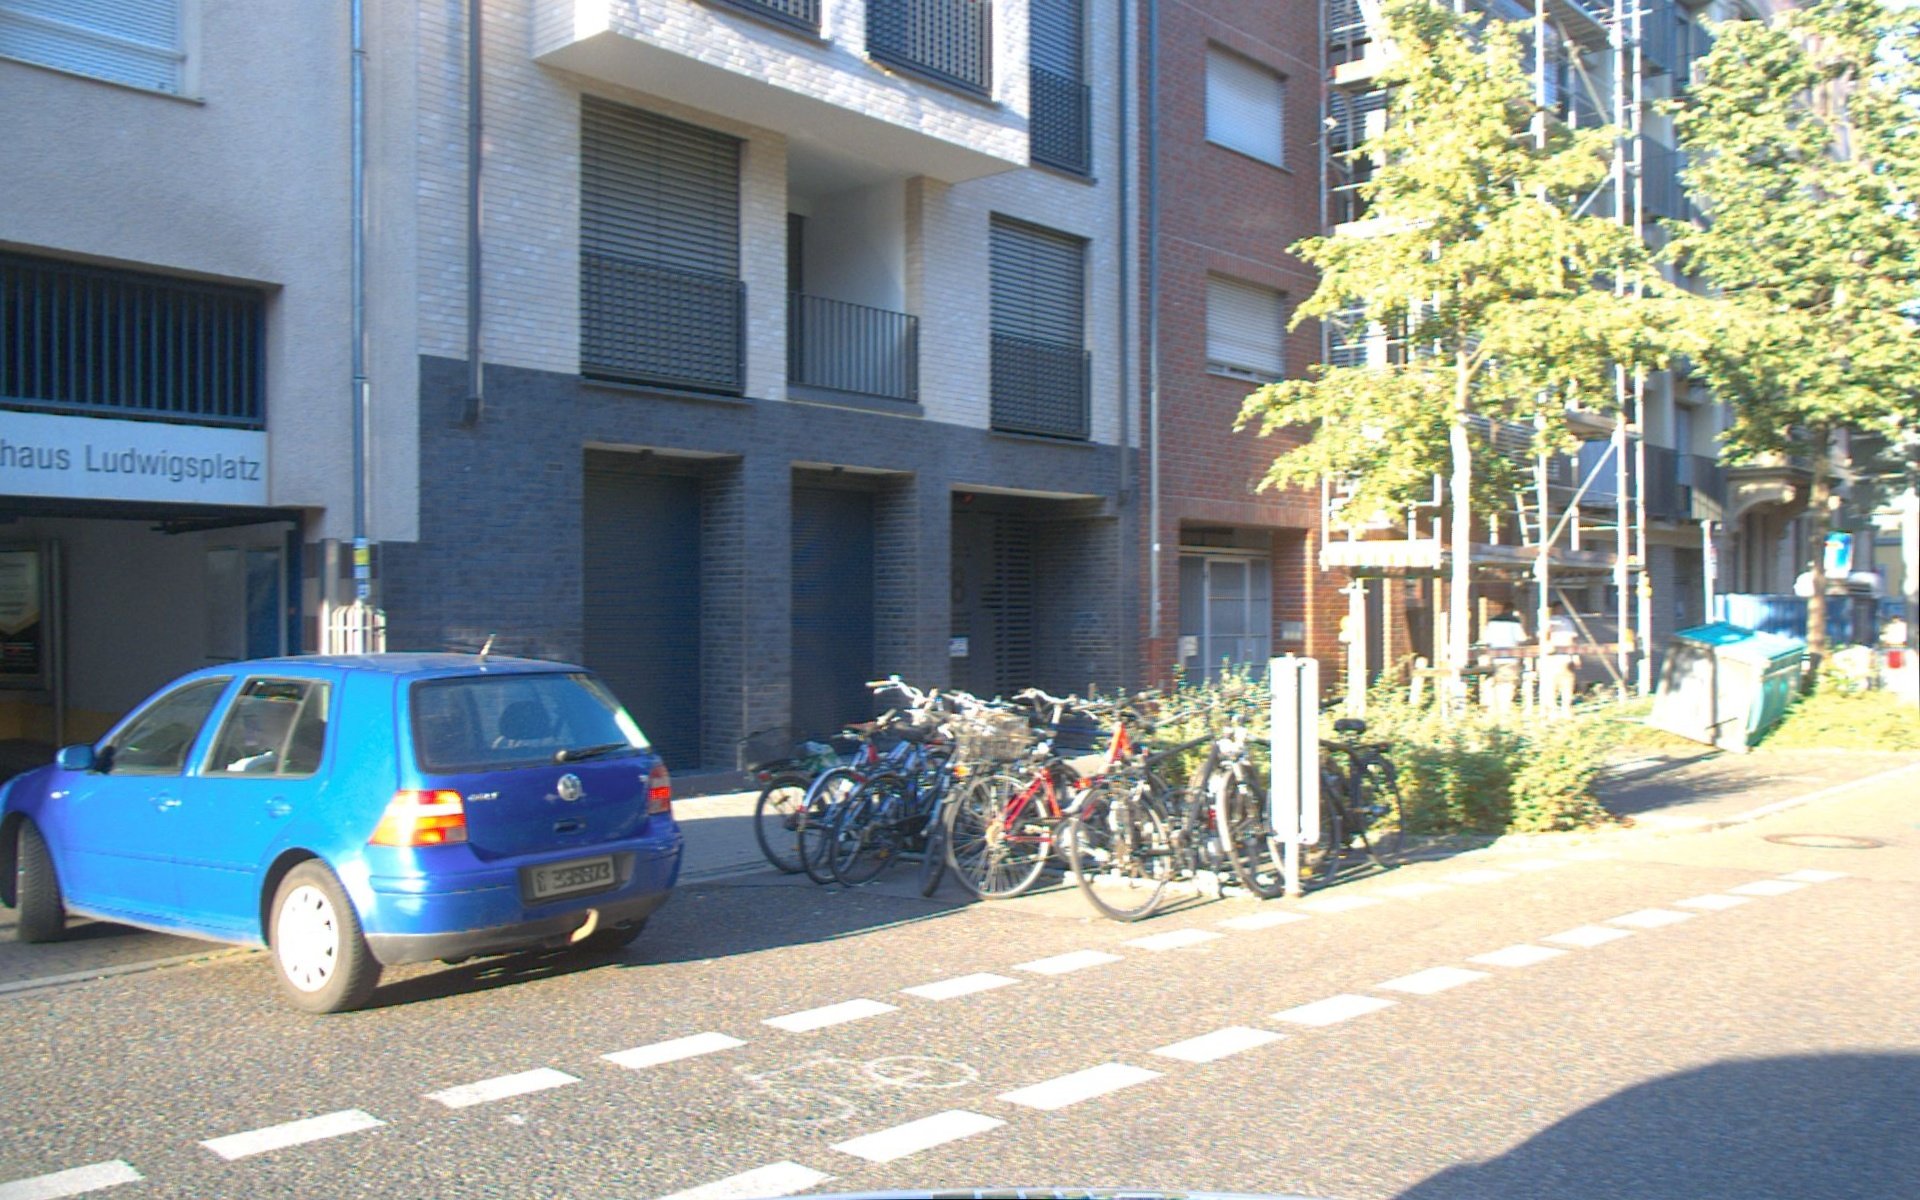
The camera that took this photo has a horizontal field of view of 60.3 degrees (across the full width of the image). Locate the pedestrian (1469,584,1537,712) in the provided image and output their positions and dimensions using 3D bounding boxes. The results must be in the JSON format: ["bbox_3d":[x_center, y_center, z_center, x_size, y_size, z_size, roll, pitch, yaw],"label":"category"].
[{"bbox_3d":[7.860,0.692,23.948,0.730,1.814,0.652,-1,-1,42],"label":"pedestrian"}]

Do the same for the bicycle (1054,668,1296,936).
[{"bbox_3d":[1.165,1.005,8.727,0.490,1.242,1.543,-1,-1,41],"label":"bicycle"}]

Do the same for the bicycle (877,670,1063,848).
[{"bbox_3d":[0.093,1.111,11.972,0.450,1.151,1.543,-1,-1,41],"label":"bicycle"}]

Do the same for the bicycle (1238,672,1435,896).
[{"bbox_3d":[2.315,1.069,10.063,0.500,1.199,1.543,-1,-1,41],"label":"bicycle"}]

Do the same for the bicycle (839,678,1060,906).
[{"bbox_3d":[-0.032,1.080,9.710,0.375,1.180,1.543,-1,-1,41],"label":"bicycle"}]

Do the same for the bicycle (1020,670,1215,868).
[{"bbox_3d":[1.073,1.081,10.997,0.480,1.170,1.543,-1,-1,41],"label":"bicycle"}]

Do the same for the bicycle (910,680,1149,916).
[{"bbox_3d":[0.423,1.074,9.382,1.540,1.177,0.411,0,-1,-44],"label":"bicycle"}]

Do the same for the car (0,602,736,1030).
[{"bbox_3d":[-3.161,0.864,8.018,4.034,1.591,1.688,-2,-2,35],"label":"car"}]

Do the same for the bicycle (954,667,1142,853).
[{"bbox_3d":[0.638,1.076,11.546,0.460,1.164,1.543,-1,-1,41],"label":"bicycle"}]

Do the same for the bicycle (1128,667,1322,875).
[{"bbox_3d":[1.720,1.050,10.592,0.480,1.183,1.543,-1,-1,41],"label":"bicycle"}]

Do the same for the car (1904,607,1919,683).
[{"bbox_3d":[23.345,1.005,36.608,3.932,1.713,1.878,0,0,44],"label":"car"}]

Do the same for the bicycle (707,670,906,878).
[{"bbox_3d":[-0.958,1.073,10.604,0.381,1.204,1.397,-1,-1,41],"label":"bicycle"}]

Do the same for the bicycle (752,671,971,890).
[{"bbox_3d":[-0.579,1.068,10.227,0.380,1.210,1.543,-1,-1,41],"label":"bicycle"}]

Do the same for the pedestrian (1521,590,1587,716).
[{"bbox_3d":[8.773,0.775,24.420,0.730,1.814,0.653,-1,-1,40],"label":"pedestrian"}]
